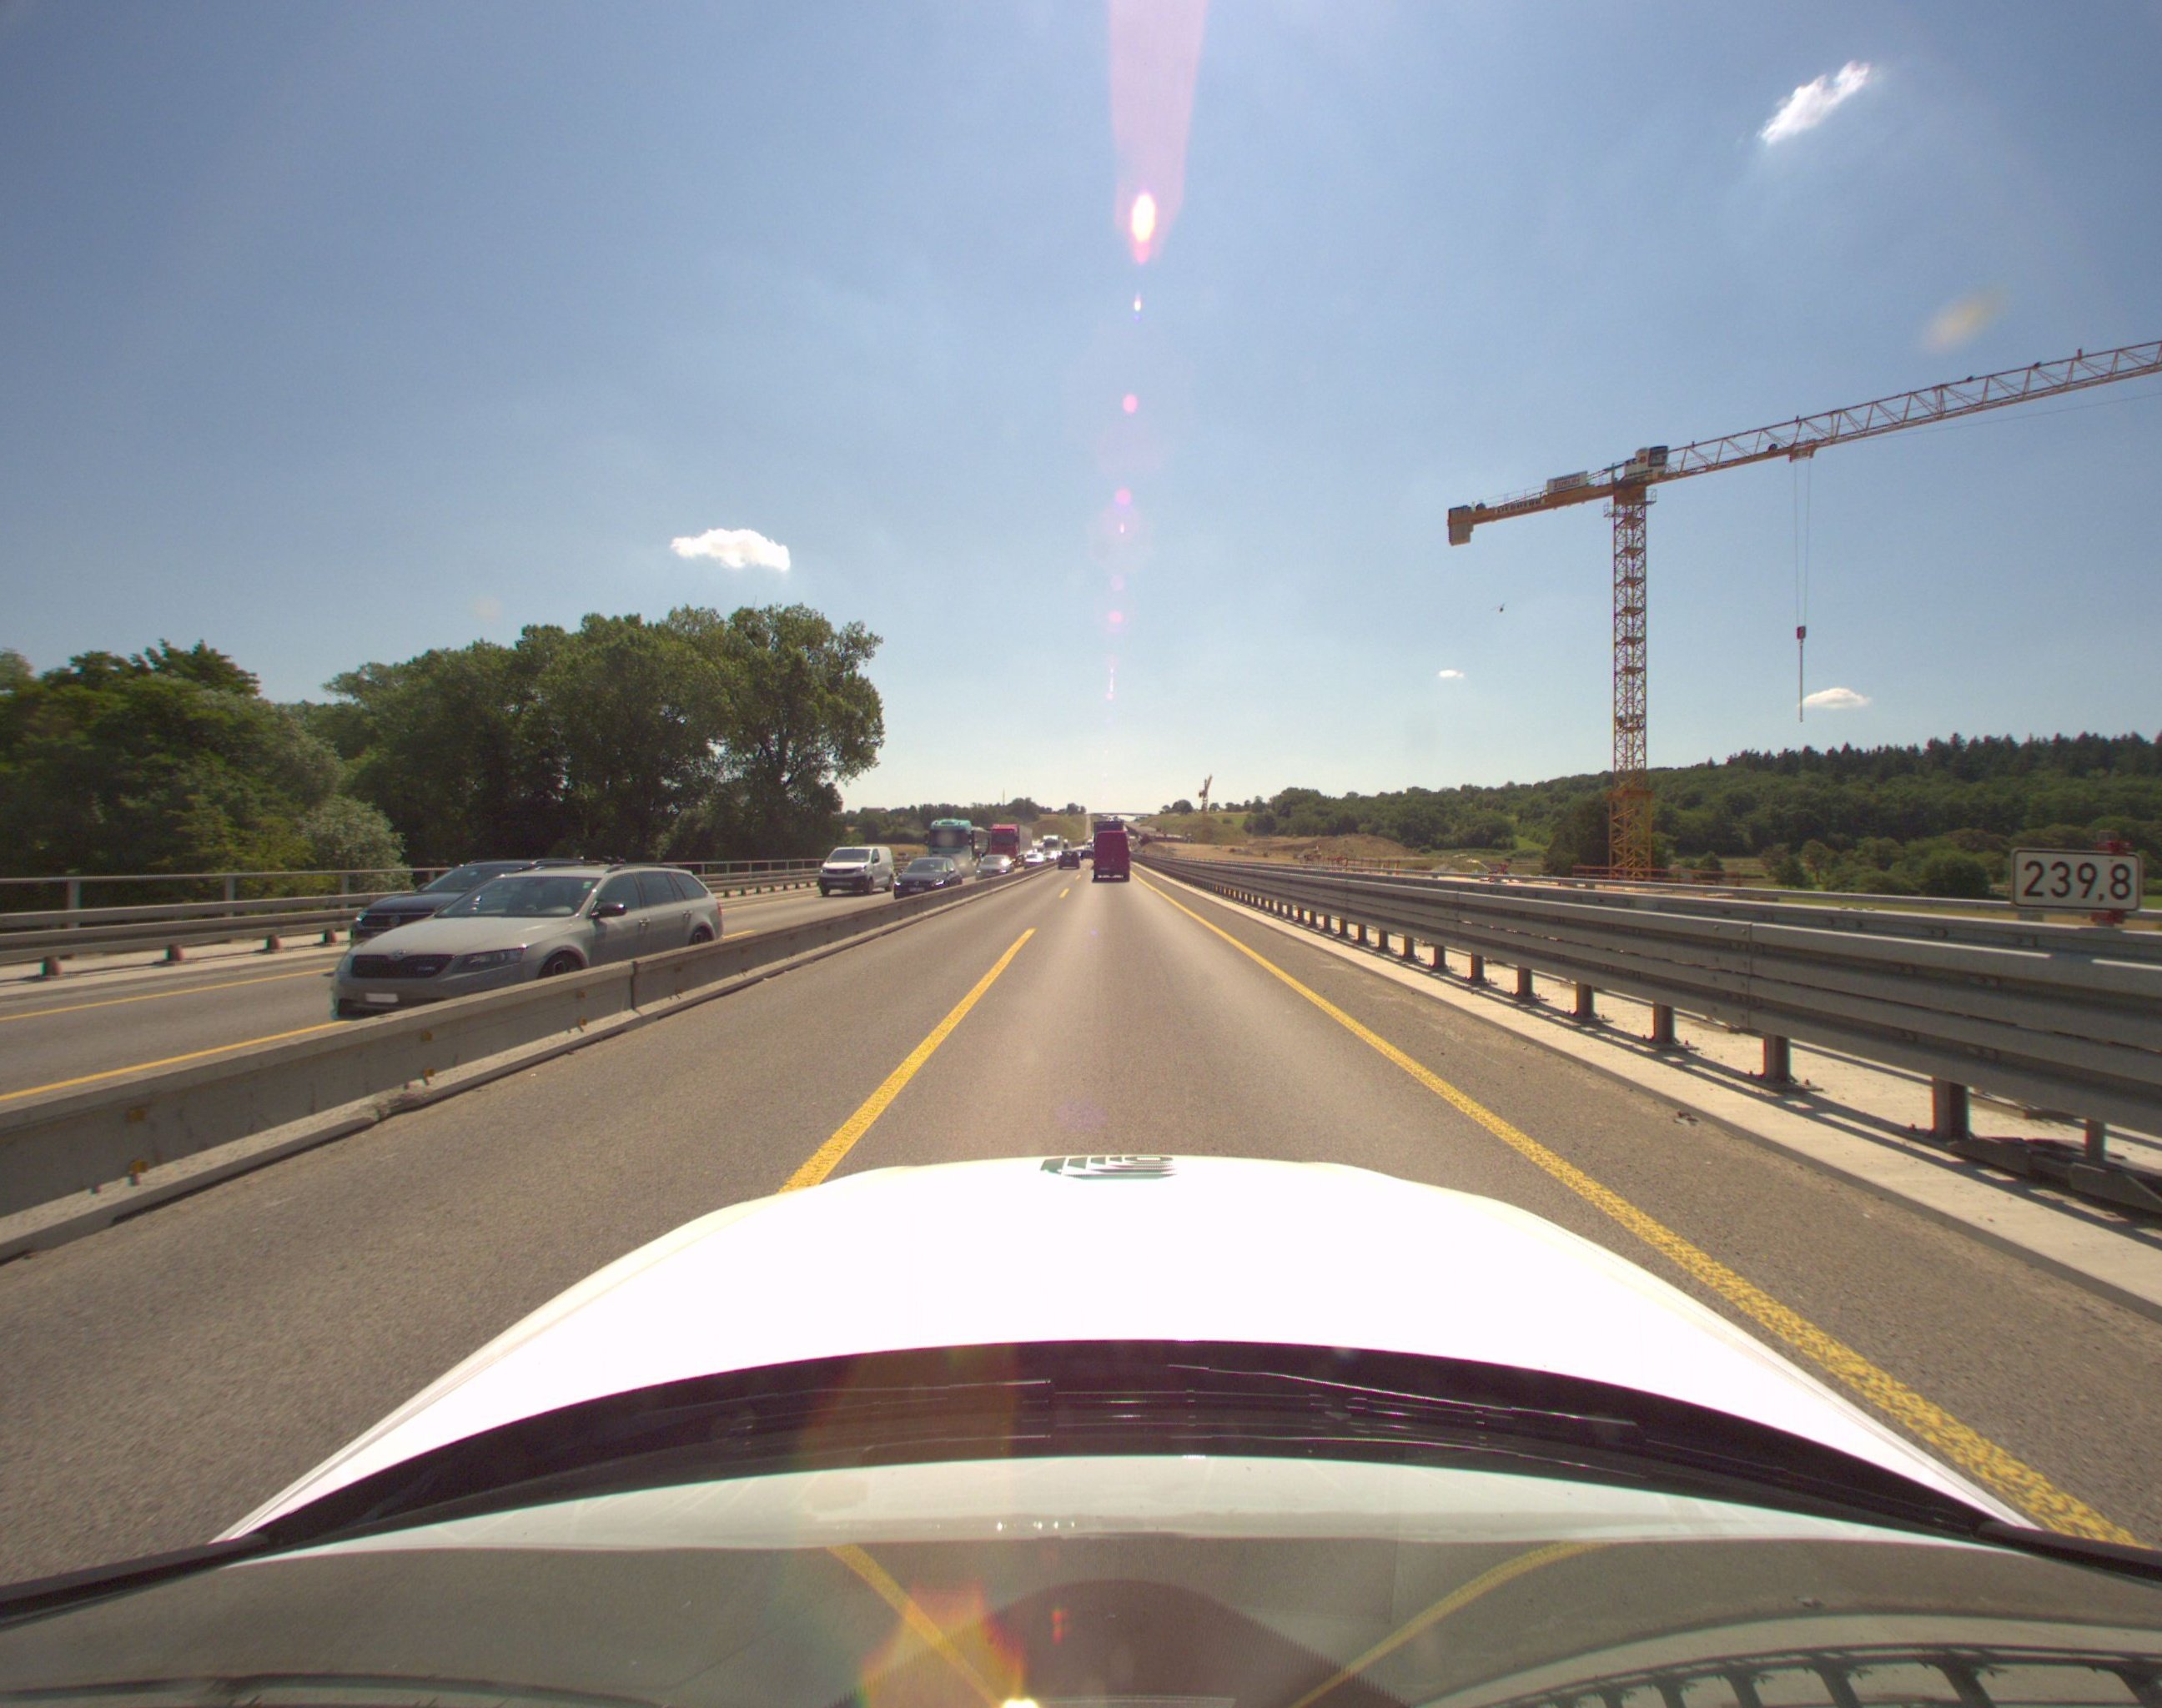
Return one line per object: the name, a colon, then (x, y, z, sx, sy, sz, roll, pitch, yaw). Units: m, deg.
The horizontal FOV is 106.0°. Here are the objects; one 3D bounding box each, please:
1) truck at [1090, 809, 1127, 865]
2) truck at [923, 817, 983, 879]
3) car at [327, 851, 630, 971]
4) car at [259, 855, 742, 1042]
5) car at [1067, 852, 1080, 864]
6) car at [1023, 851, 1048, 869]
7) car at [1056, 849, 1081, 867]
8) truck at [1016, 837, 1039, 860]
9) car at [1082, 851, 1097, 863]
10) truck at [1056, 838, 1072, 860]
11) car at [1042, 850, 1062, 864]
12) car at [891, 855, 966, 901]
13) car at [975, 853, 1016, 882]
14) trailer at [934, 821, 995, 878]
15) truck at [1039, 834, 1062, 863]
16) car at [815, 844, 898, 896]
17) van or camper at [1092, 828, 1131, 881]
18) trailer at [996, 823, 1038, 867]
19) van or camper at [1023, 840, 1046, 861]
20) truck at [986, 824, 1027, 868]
truck: (2.393, -1.478, 73.197, 3.011, 4.692, 6.932, -2, 0, 0)
truck: (-8.275, -0.352, 53.151, 2.787, 3.722, 5.375, -3, 0, 1)
car: (-9.249, 0.764, 13.007, 1.808, 1.569, 4.000, -2, 0, 0)
car: (-5.723, 0.779, 8.988, 1.819, 1.418, 4.659, -2, 0, 2)
car: (-1.118, 0.538, 122.776, 1.841, 1.687, 4.620, -3, 0, 1)
car: (-3.955, 0.510, 71.410, 1.775, 1.379, 4.711, -2, 0, 0)
car: (-1.035, 0.311, 70.401, 2.005, 1.545, 4.132, 0, 0, 1)
truck: (-8.891, -0.957, 136.030, 2.893, 3.764, 8.372, 0, 1, 2)
car: (1.214, 0.415, 115.147, 2.004, 1.545, 4.134, 1, 1, 1)
truck: (-3.402, -1.052, 163.175, 2.795, 4.392, 6.229, -1, 0, 3)
car: (-3.249, 0.287, 92.066, 1.883, 1.487, 4.921, -1, 0, 1)
car: (-5.213, 0.768, 28.341, 1.672, 1.392, 4.157, -2, 0, 1)
car: (-4.616, 0.699, 44.392, 1.625, 1.408, 4.104, -2, 0, 1)
trailer: (-8.192, -0.317, 58.319, 2.784, 3.672, 8.957, -3, 0, 1)
truck: (-4.957, -0.847, 133.134, 3.065, 4.536, 7.108, -1, 0, 3)
car: (-8.812, 0.594, 32.398, 1.852, 1.867, 4.631, -2, 0, 2)
van or camper: (1.639, -0.002, 44.889, 2.022, 2.744, 4.515, 0, 0, 0)
trailer: (-6.563, -0.959, 84.796, 2.795, 4.176, 11.808, 0, 1, 3)
van or camper: (-6.222, -0.478, 108.795, 2.493, 2.698, 5.247, -1, 0, 3)
truck: (-7.029, -0.797, 77.575, 2.803, 4.037, 6.530, 0, 1, 4)
